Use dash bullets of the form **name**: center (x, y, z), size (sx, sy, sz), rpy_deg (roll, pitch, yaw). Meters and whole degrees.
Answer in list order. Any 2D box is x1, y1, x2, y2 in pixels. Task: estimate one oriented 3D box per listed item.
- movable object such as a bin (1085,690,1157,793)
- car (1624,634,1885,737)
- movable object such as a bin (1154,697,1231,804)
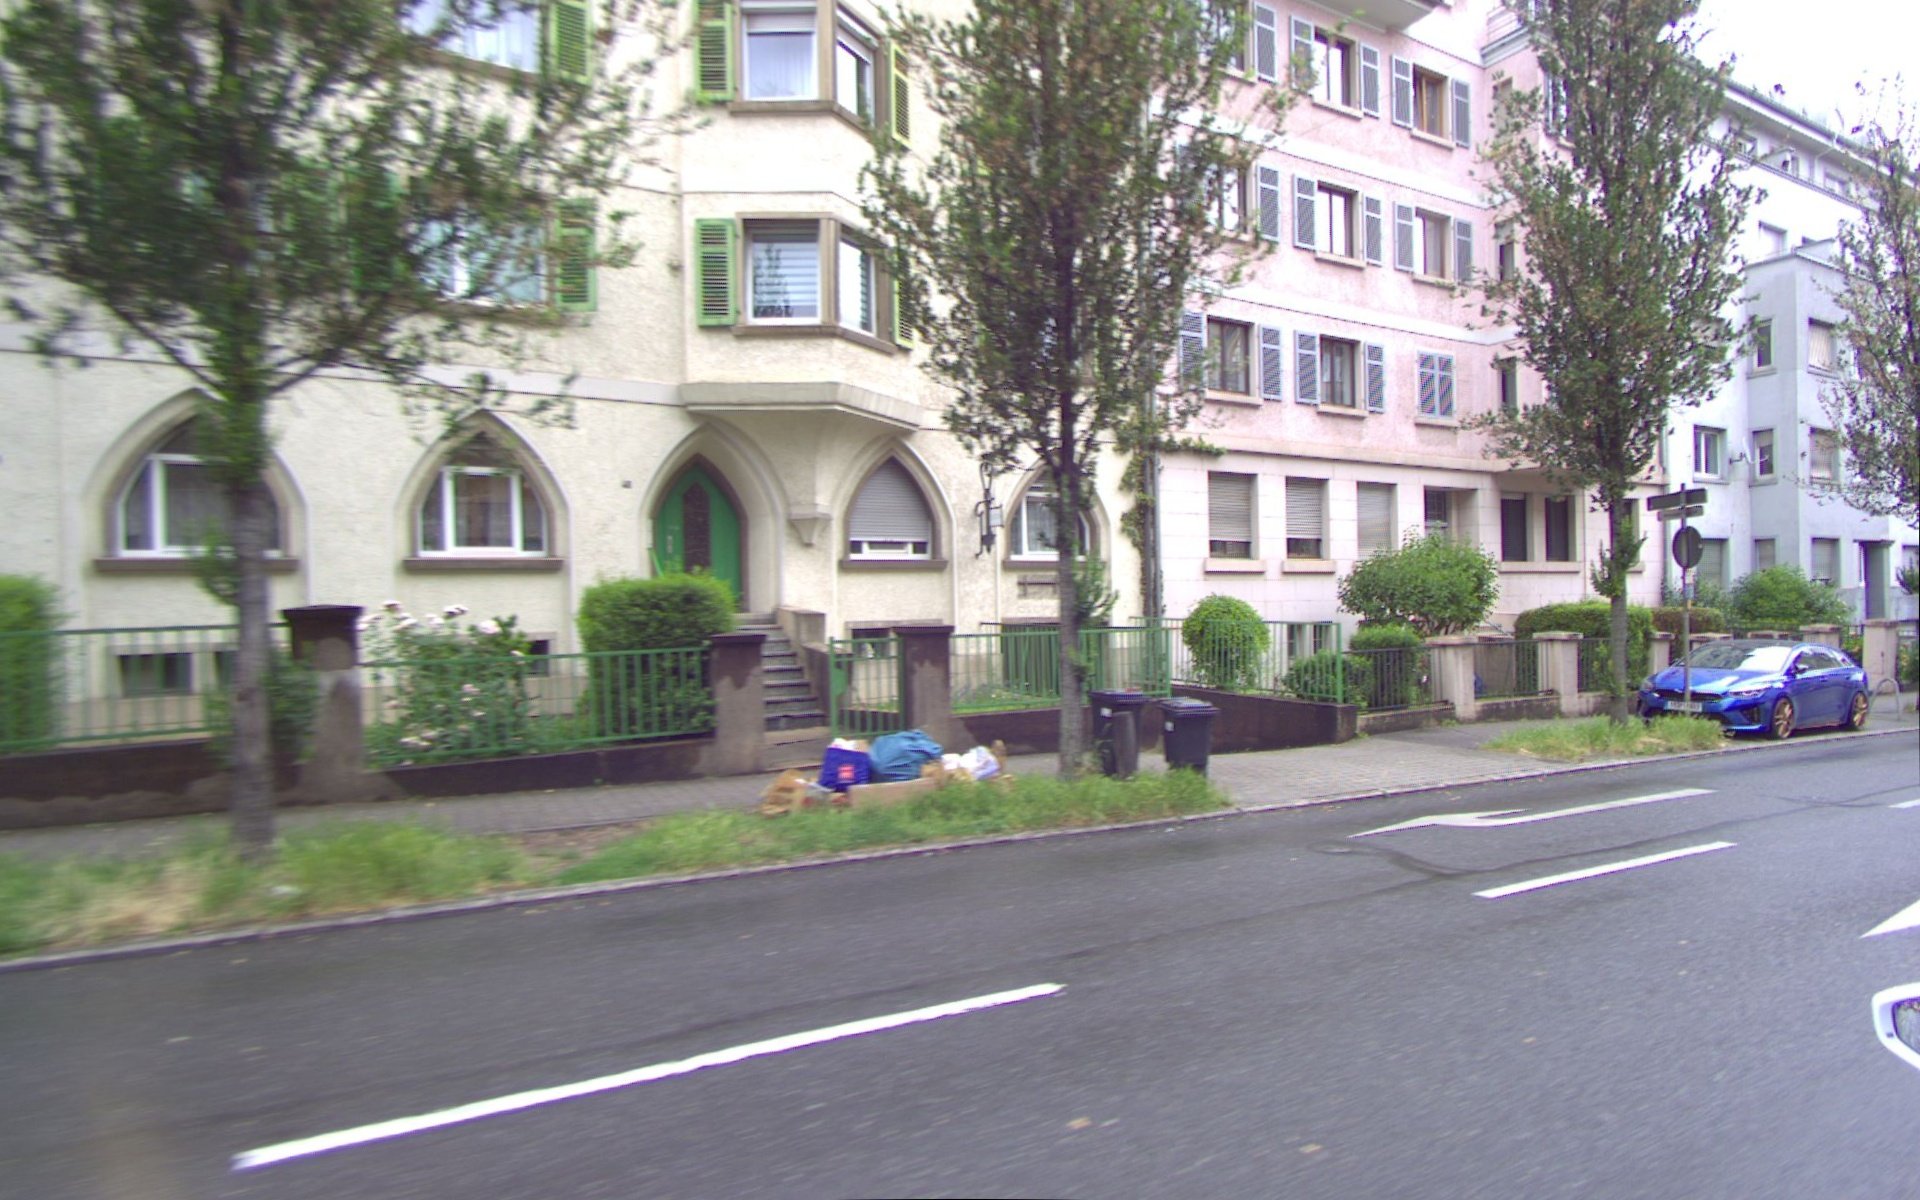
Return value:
- **movable object such as a bin**: center (1.565, 1.361, 9.762), size (0.566, 0.923, 0.362), rpy_deg (2, 1, -30)
- **car**: center (12.545, 1.281, 15.793), size (4.548, 1.404, 1.671), rpy_deg (2, -1, -30)
- **movable object such as a bin**: center (2.128, 1.367, 9.203), size (0.566, 0.901, 0.362), rpy_deg (2, 1, -30)
